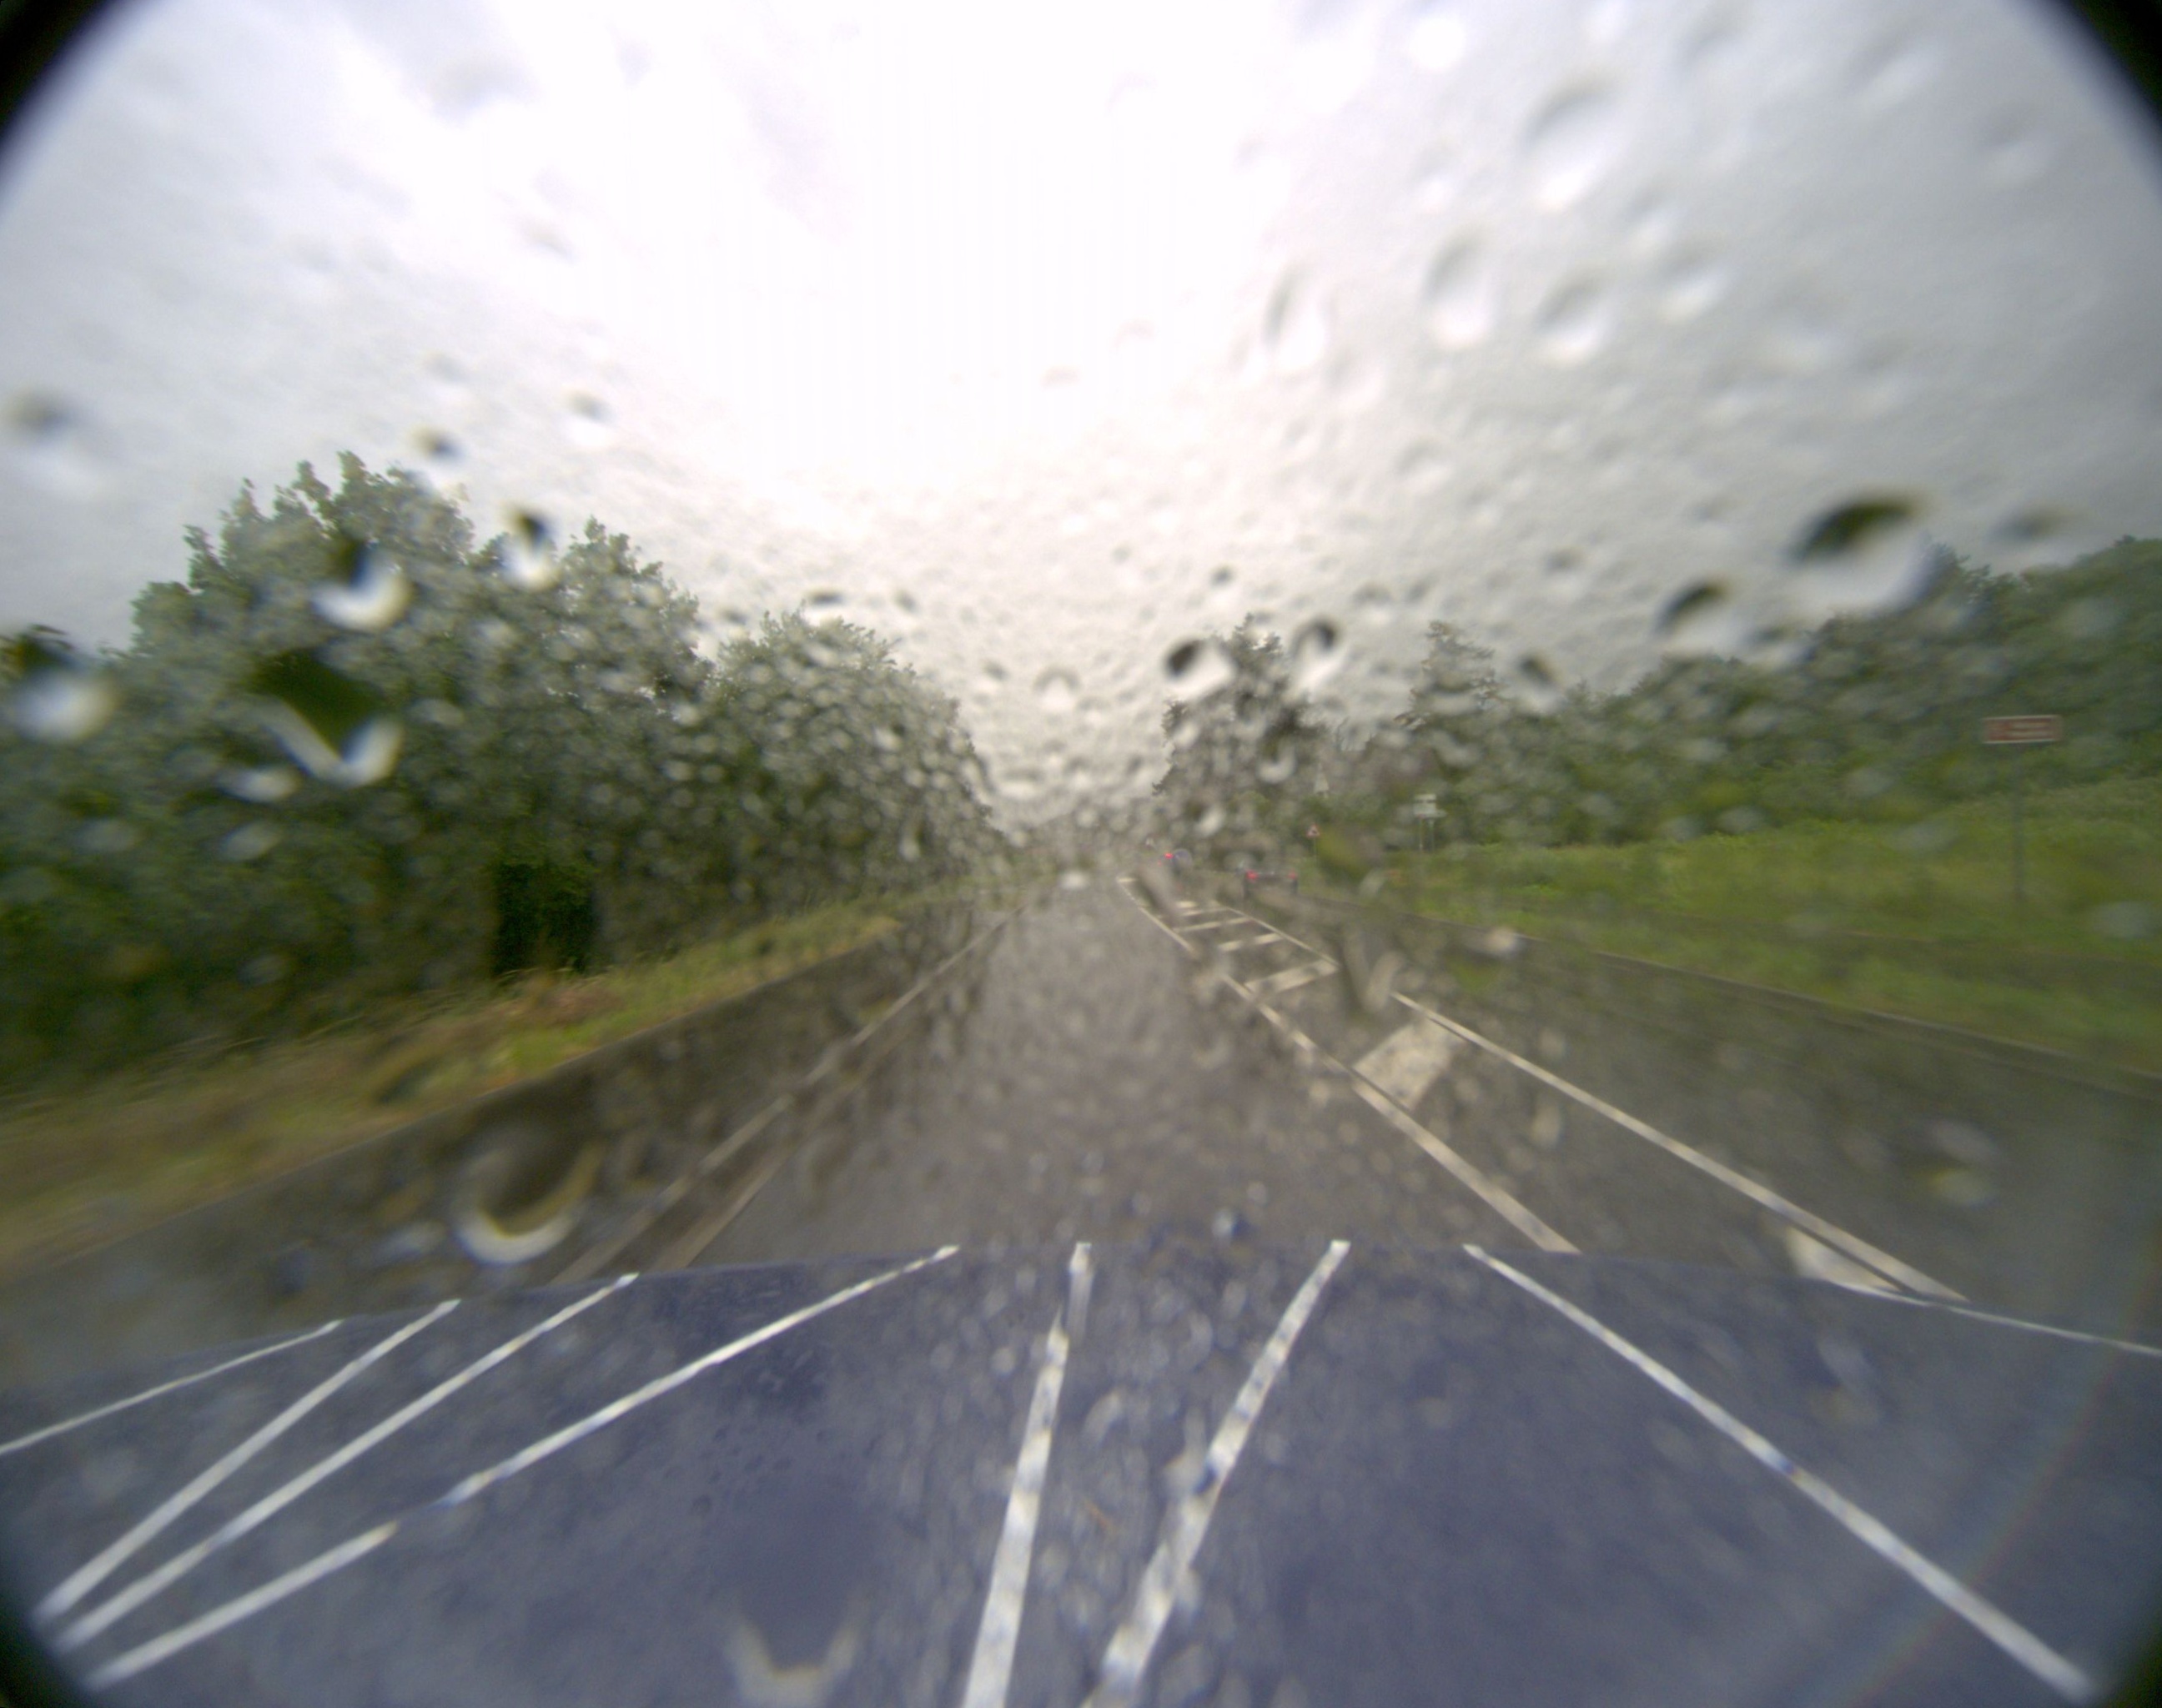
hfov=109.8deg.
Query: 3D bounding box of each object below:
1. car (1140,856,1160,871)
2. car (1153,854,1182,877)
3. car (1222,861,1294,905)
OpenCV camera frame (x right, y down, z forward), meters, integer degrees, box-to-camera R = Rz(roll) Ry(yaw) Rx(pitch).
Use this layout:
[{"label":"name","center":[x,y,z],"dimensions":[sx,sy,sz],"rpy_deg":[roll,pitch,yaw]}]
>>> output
[{"label":"car","center":[7.208,0.968,79.480],"dimensions":[1.746,1.437,3.682],"rpy_deg":[-4,0,0]},{"label":"car","center":[6.440,0.848,56.927],"dimensions":[1.745,1.708,4.267],"rpy_deg":[0,0,1]},{"label":"car","center":[6.011,0.946,26.202],"dimensions":[1.701,1.394,3.767],"rpy_deg":[0,0,2]}]
